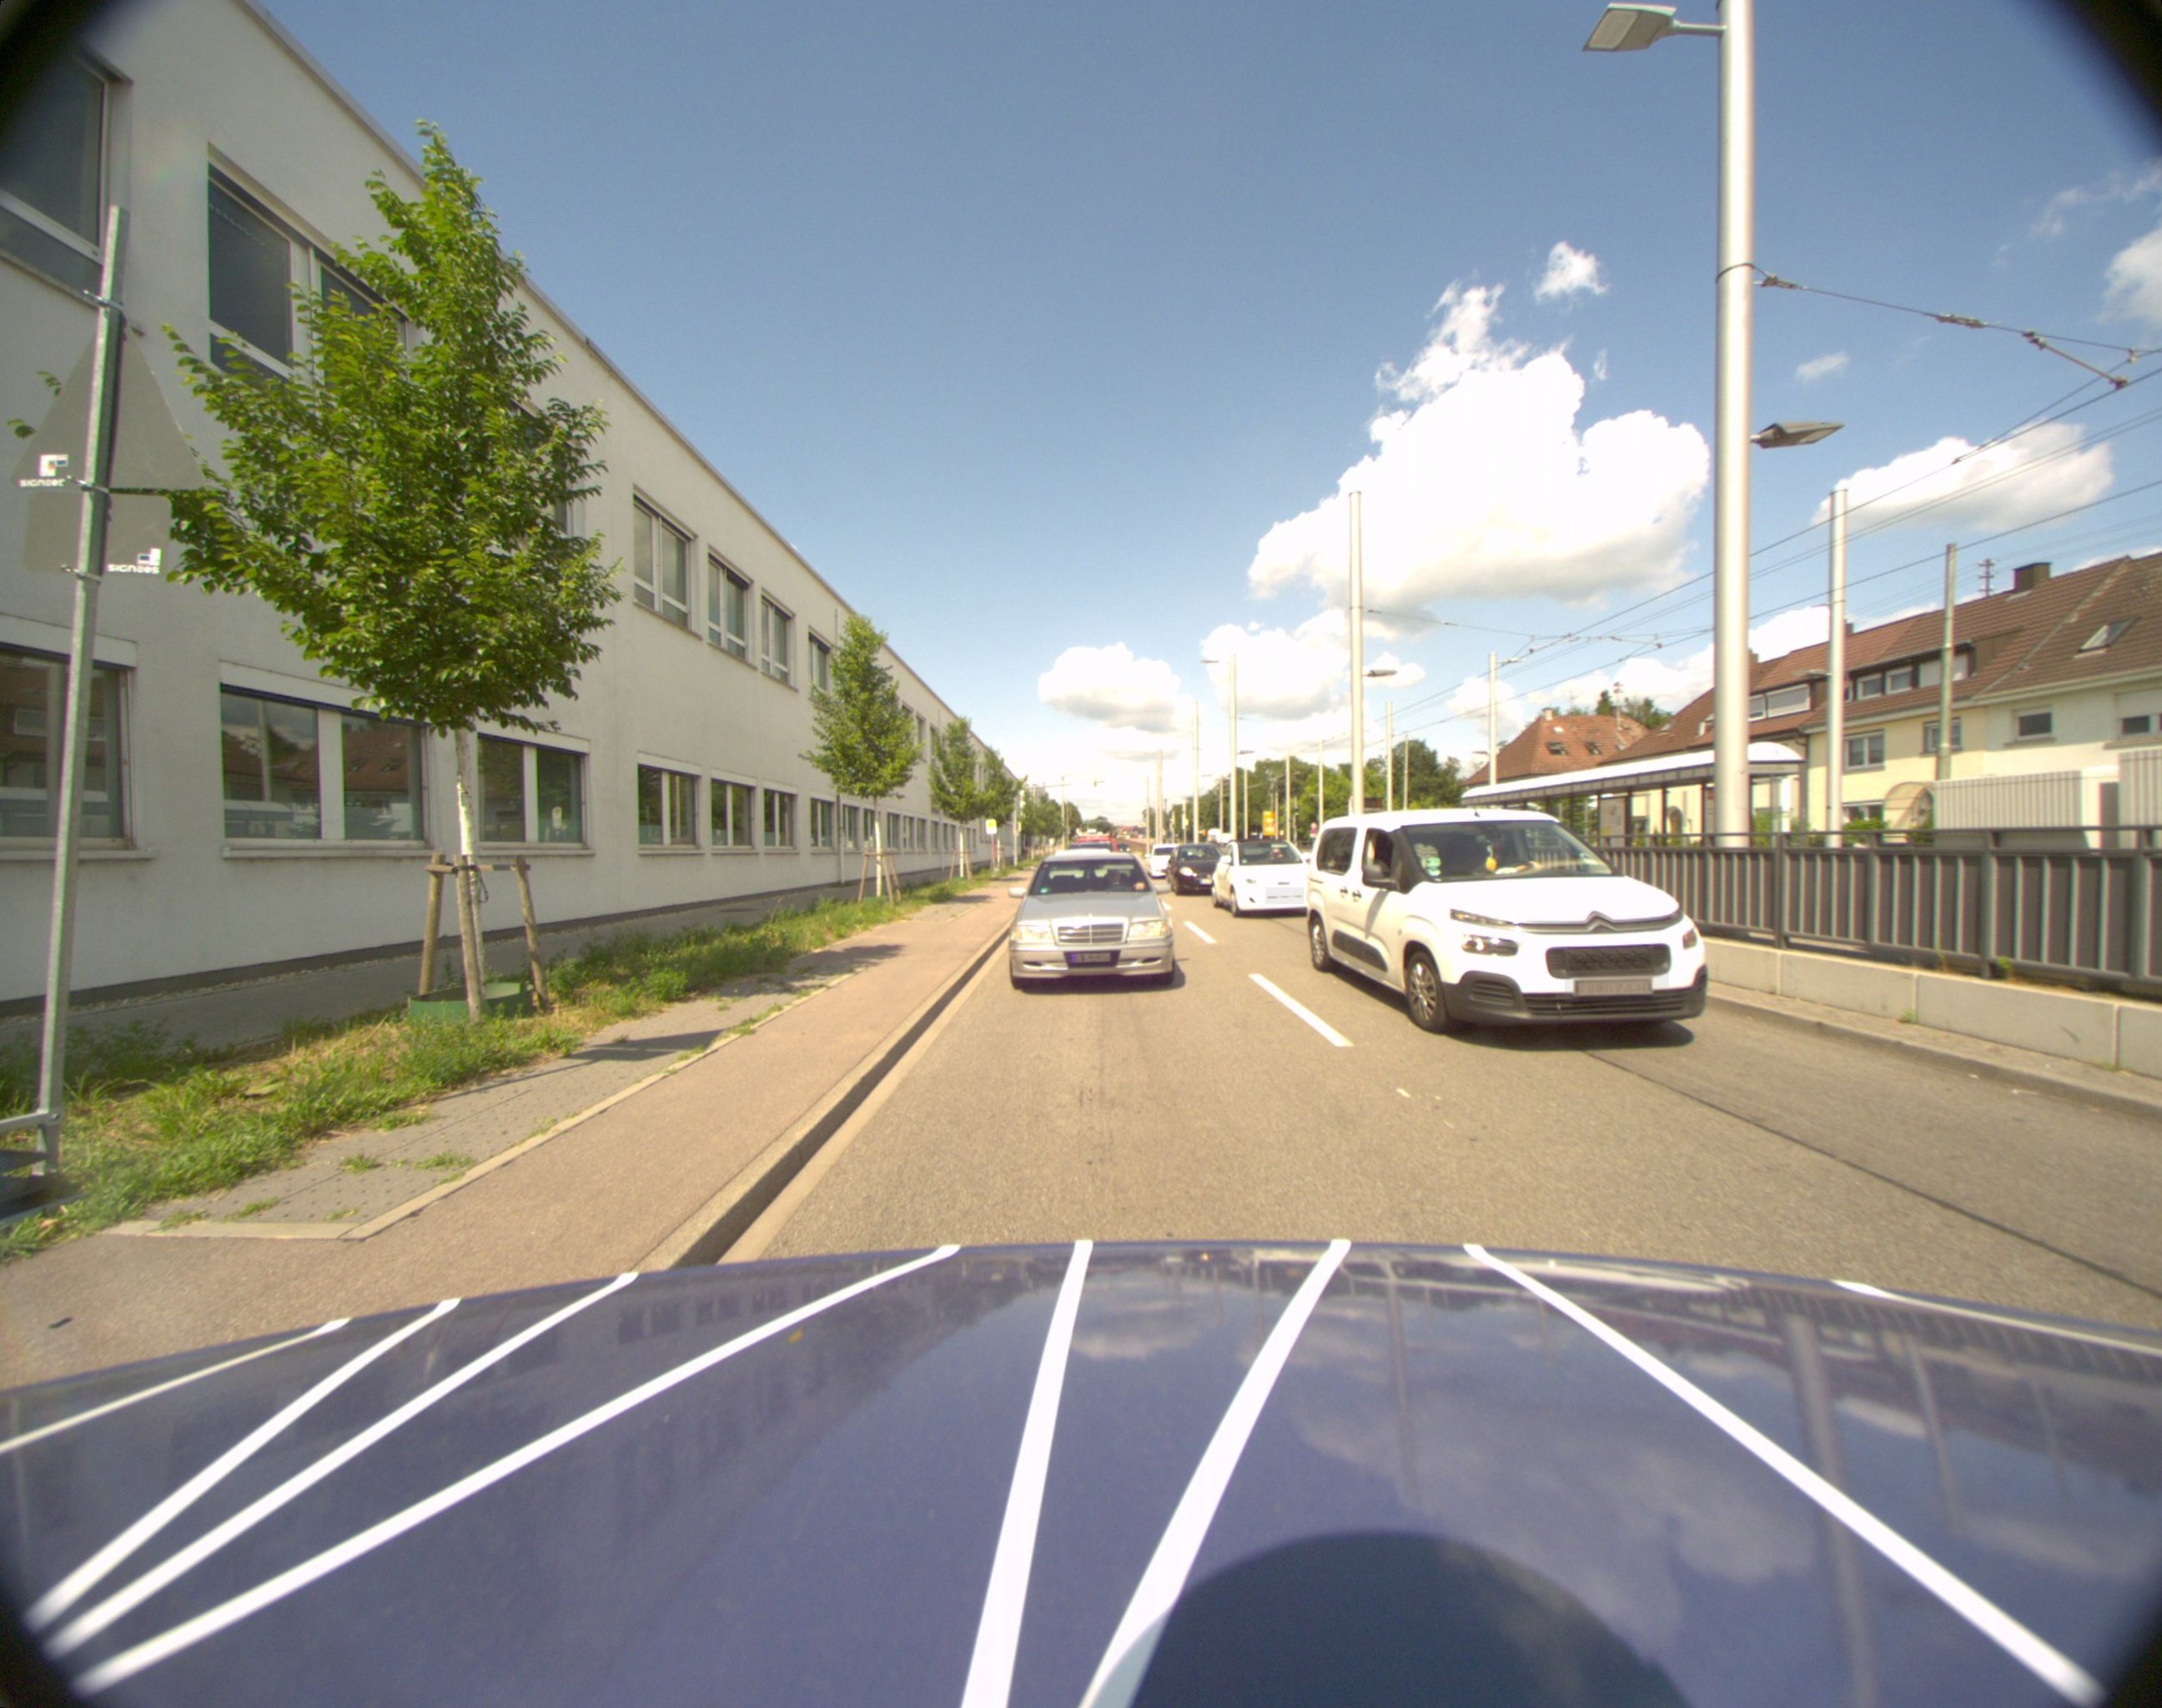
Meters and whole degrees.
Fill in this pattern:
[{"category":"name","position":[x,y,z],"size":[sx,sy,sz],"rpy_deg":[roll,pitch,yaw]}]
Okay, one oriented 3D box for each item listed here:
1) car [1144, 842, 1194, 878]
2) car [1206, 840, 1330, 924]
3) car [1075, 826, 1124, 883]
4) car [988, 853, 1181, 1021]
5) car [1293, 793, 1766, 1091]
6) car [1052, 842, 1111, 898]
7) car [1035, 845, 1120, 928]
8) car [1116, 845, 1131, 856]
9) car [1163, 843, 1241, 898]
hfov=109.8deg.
[{"category":"car","position":[3.783,0.215,33.398],"size":[1.698,1.350,4.498],"rpy_deg":[-2,1,1]},{"category":"car","position":[3.764,0.488,15.818],"size":[1.680,1.495,3.392],"rpy_deg":[-2,1,0]},{"category":"car","position":[0.766,-0.040,31.797],"size":[1.787,2.135,5.168],"rpy_deg":[-2,1,1]},{"category":"car","position":[0.077,0.769,9.240],"size":[1.725,1.390,4.462],"rpy_deg":[-2,1,1]},{"category":"car","position":[3.416,0.507,6.915],"size":[1.799,1.805,4.329],"rpy_deg":[-2,1,1]},{"category":"car","position":[0.059,0.442,24.027],"size":[1.664,1.530,3.999],"rpy_deg":[-2,1,1]},{"category":"car","position":[-0.033,0.633,17.382],"size":[1.664,1.564,3.999],"rpy_deg":[-2,1,1]},{"category":"car","position":[5.367,-0.459,95.701],"size":[1.698,1.350,4.498],"rpy_deg":[-2,1,1]},{"category":"car","position":[3.503,0.432,22.526],"size":[1.680,1.414,3.557],"rpy_deg":[-2,1,0]}]
